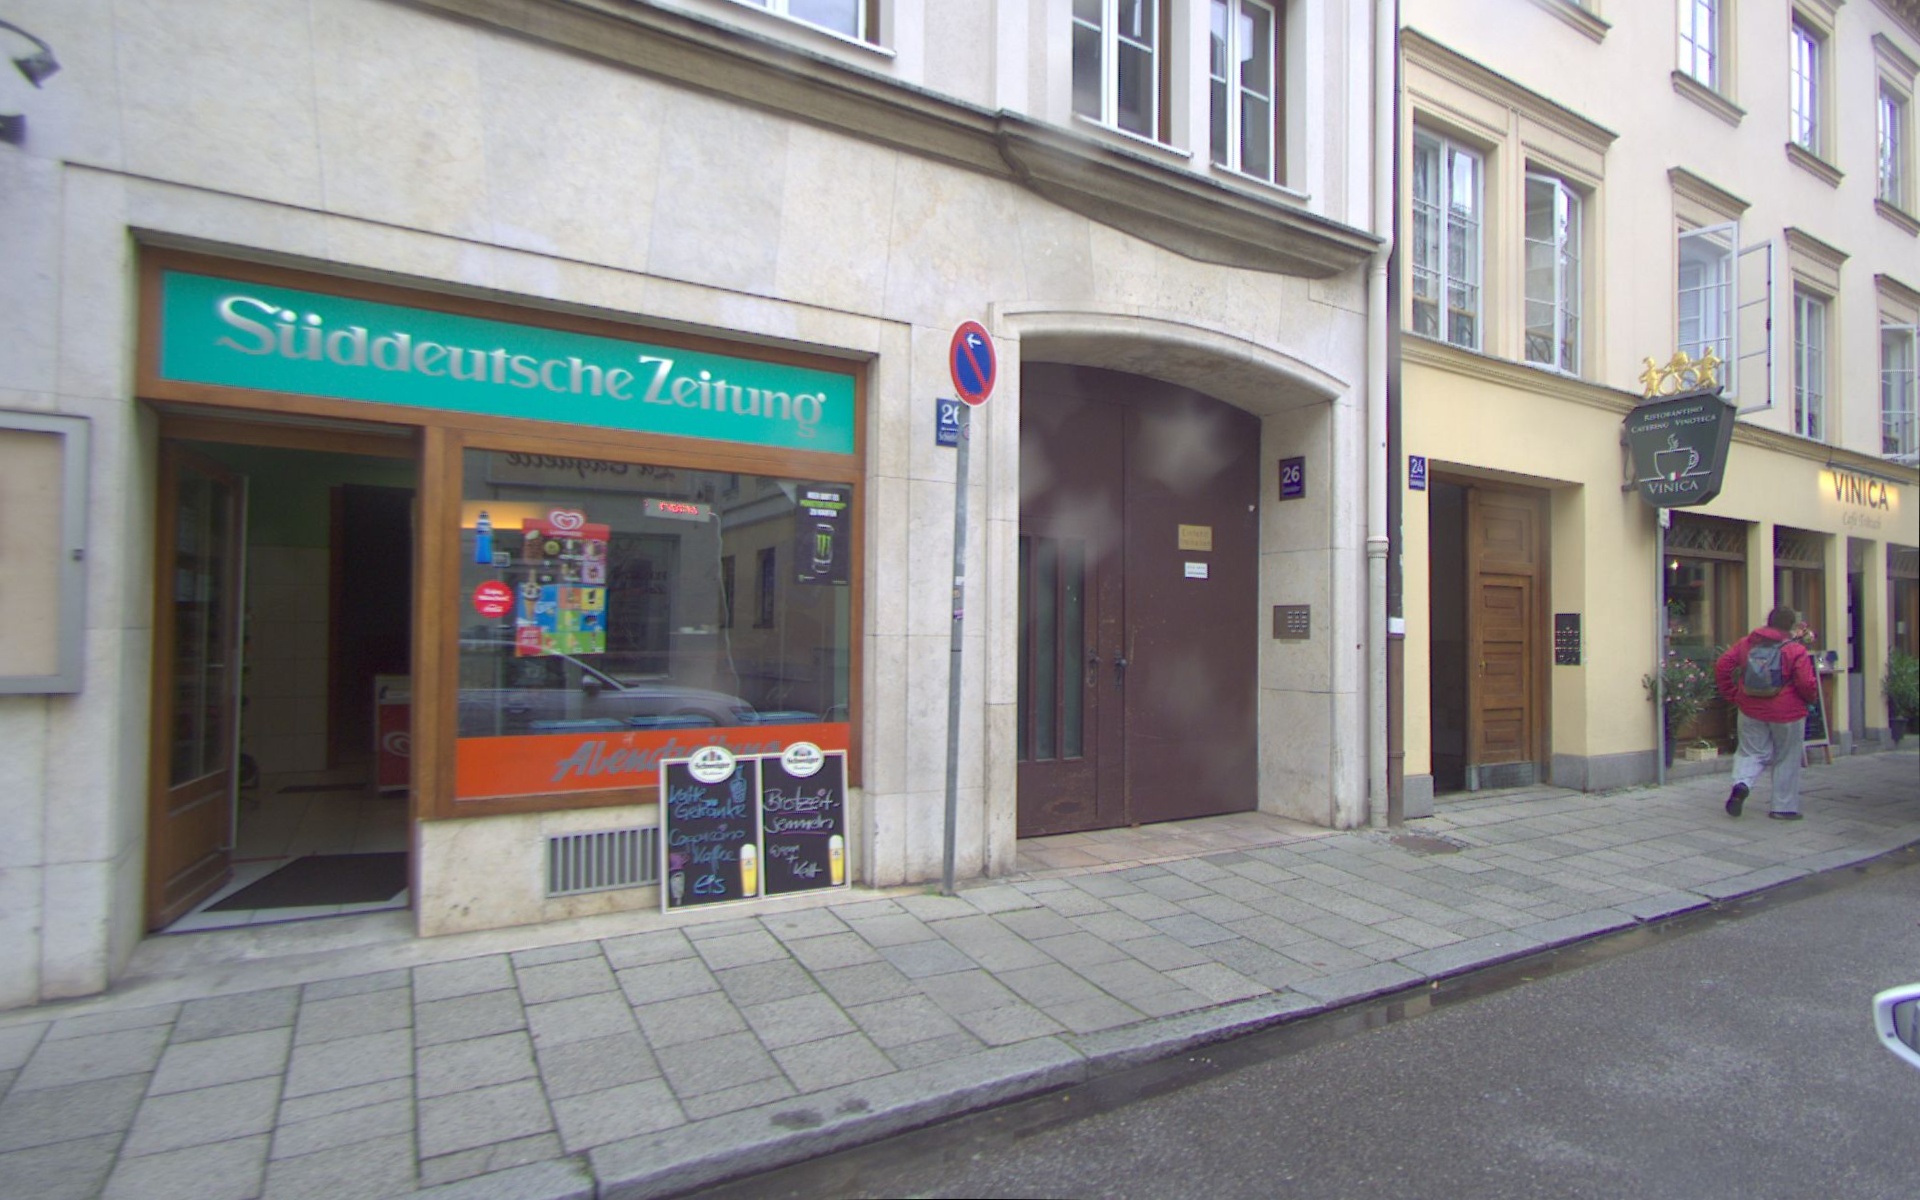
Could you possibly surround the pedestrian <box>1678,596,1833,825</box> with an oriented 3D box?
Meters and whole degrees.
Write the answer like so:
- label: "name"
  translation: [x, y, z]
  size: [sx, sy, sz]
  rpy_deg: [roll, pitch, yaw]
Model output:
- label: "pedestrian"
  translation: [6.437, 0.849, 8.142]
  size: [0.777, 1.731, 0.761]
  rpy_deg: [1, -2, -33]
